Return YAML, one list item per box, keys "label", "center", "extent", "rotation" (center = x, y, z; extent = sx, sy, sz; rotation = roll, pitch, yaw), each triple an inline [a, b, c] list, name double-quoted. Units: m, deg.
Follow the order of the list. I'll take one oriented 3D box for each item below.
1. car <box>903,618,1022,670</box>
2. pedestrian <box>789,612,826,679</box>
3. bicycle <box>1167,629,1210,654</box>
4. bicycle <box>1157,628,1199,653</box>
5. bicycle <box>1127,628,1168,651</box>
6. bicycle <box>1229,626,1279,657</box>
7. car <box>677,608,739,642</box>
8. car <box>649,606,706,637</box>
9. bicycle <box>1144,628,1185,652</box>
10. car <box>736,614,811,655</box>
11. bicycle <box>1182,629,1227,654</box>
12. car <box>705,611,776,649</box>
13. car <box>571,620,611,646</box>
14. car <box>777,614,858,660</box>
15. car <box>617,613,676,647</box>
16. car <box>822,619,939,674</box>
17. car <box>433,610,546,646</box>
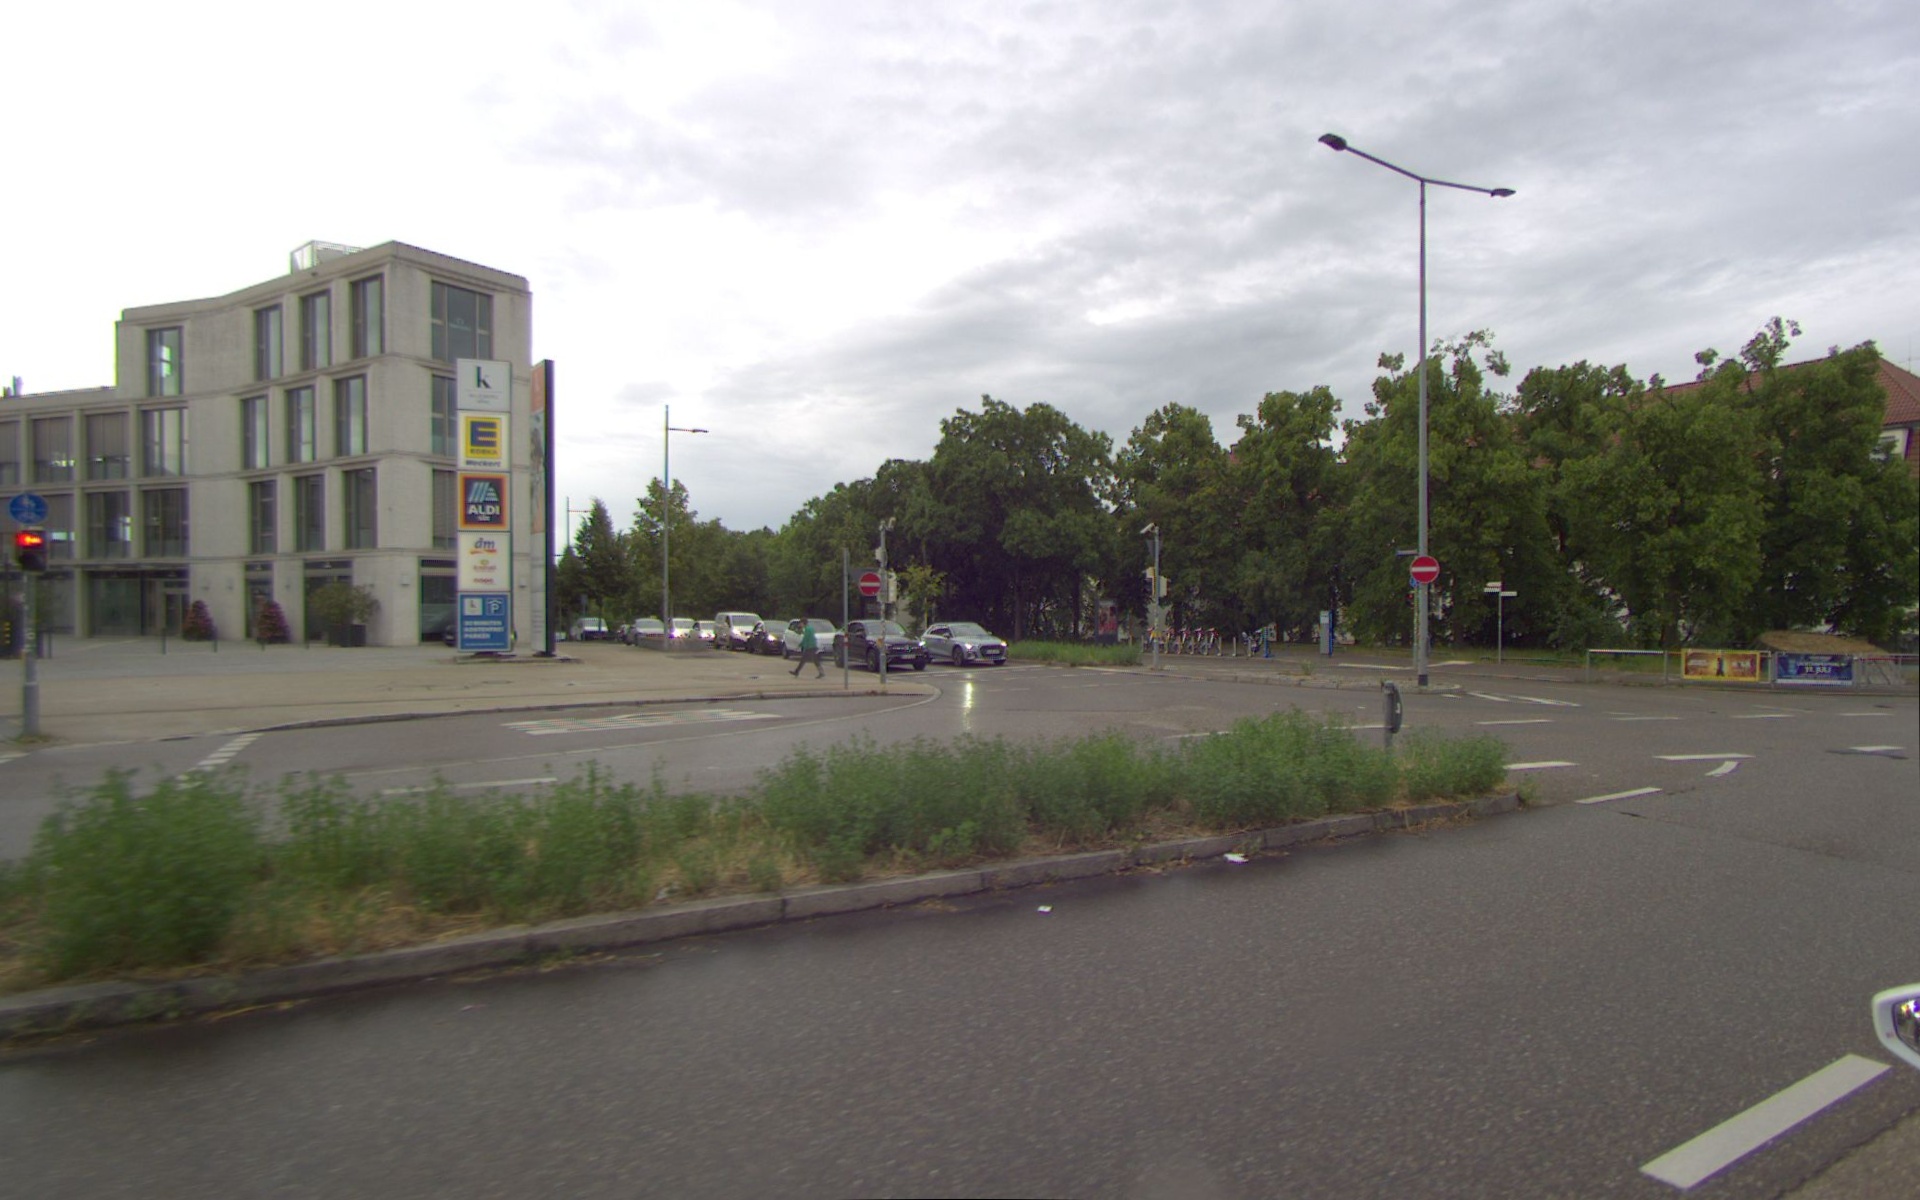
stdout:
- label: "car"
  center: [-0.009, 1.512, 35.585]
  extent: [1.976, 1.569, 5.000]
  rotation: [2, 0, -30]
- label: "pedestrian"
  center: [-4.163, 1.223, 27.386]
  extent: [0.929, 1.750, 0.924]
  rotation: [2, 0, -10]
- label: "bicycle"
  center: [10.423, 1.903, 45.760]
  extent: [1.959, 1.085, 0.648]
  rotation: [2, 0, -31]
- label: "bicycle"
  center: [10.127, 1.882, 46.601]
  extent: [1.959, 1.085, 0.648]
  rotation: [2, 0, -31]
- label: "bicycle"
  center: [9.013, 1.899, 48.325]
  extent: [1.959, 1.085, 0.648]
  rotation: [2, 0, -31]
- label: "bicycle"
  center: [12.537, 1.778, 42.843]
  extent: [1.959, 1.266, 0.986]
  rotation: [2, 0, -31]
- label: "car"
  center: [-13.544, 1.336, 53.816]
  extent: [1.976, 1.615, 4.855]
  rotation: [2, 0, -30]
- label: "car"
  center: [-16.778, 1.240, 59.516]
  extent: [1.978, 1.615, 4.852]
  rotation: [2, 0, -31]
- label: "bicycle"
  center: [9.688, 1.888, 47.599]
  extent: [1.959, 1.085, 0.648]
  rotation: [2, 0, -31]
- label: "car"
  center: [-8.275, 1.490, 44.339]
  extent: [1.976, 1.615, 4.184]
  rotation: [2, 0, -30]
- label: "bicycle"
  center: [11.006, 1.872, 45.222]
  extent: [1.959, 1.085, 0.797]
  rotation: [2, 0, -31]
- label: "car"
  center: [-10.726, 1.418, 48.845]
  extent: [1.976, 1.615, 4.855]
  rotation: [2, 0, -30]
- label: "car"
  center: [-26.821, 2.389, 72.940]
  extent: [1.976, 1.615, 4.855]
  rotation: [2, 0, -30]
- label: "car"
  center: [-5.648, 1.426, 39.498]
  extent: [1.977, 1.615, 3.535]
  rotation: [2, 0, -30]
- label: "car"
  center: [-16.612, 1.561, 53.103]
  extent: [1.976, 1.615, 4.855]
  rotation: [2, 0, -30]
- label: "car"
  center: [-2.776, 1.508, 33.729]
  extent: [1.976, 1.520, 5.000]
  rotation: [2, 0, -30]
- label: "car"
  center: [-20.416, 1.201, 43.700]
  extent: [1.968, 1.483, 3.985]
  rotation: [0, -1, 37]
